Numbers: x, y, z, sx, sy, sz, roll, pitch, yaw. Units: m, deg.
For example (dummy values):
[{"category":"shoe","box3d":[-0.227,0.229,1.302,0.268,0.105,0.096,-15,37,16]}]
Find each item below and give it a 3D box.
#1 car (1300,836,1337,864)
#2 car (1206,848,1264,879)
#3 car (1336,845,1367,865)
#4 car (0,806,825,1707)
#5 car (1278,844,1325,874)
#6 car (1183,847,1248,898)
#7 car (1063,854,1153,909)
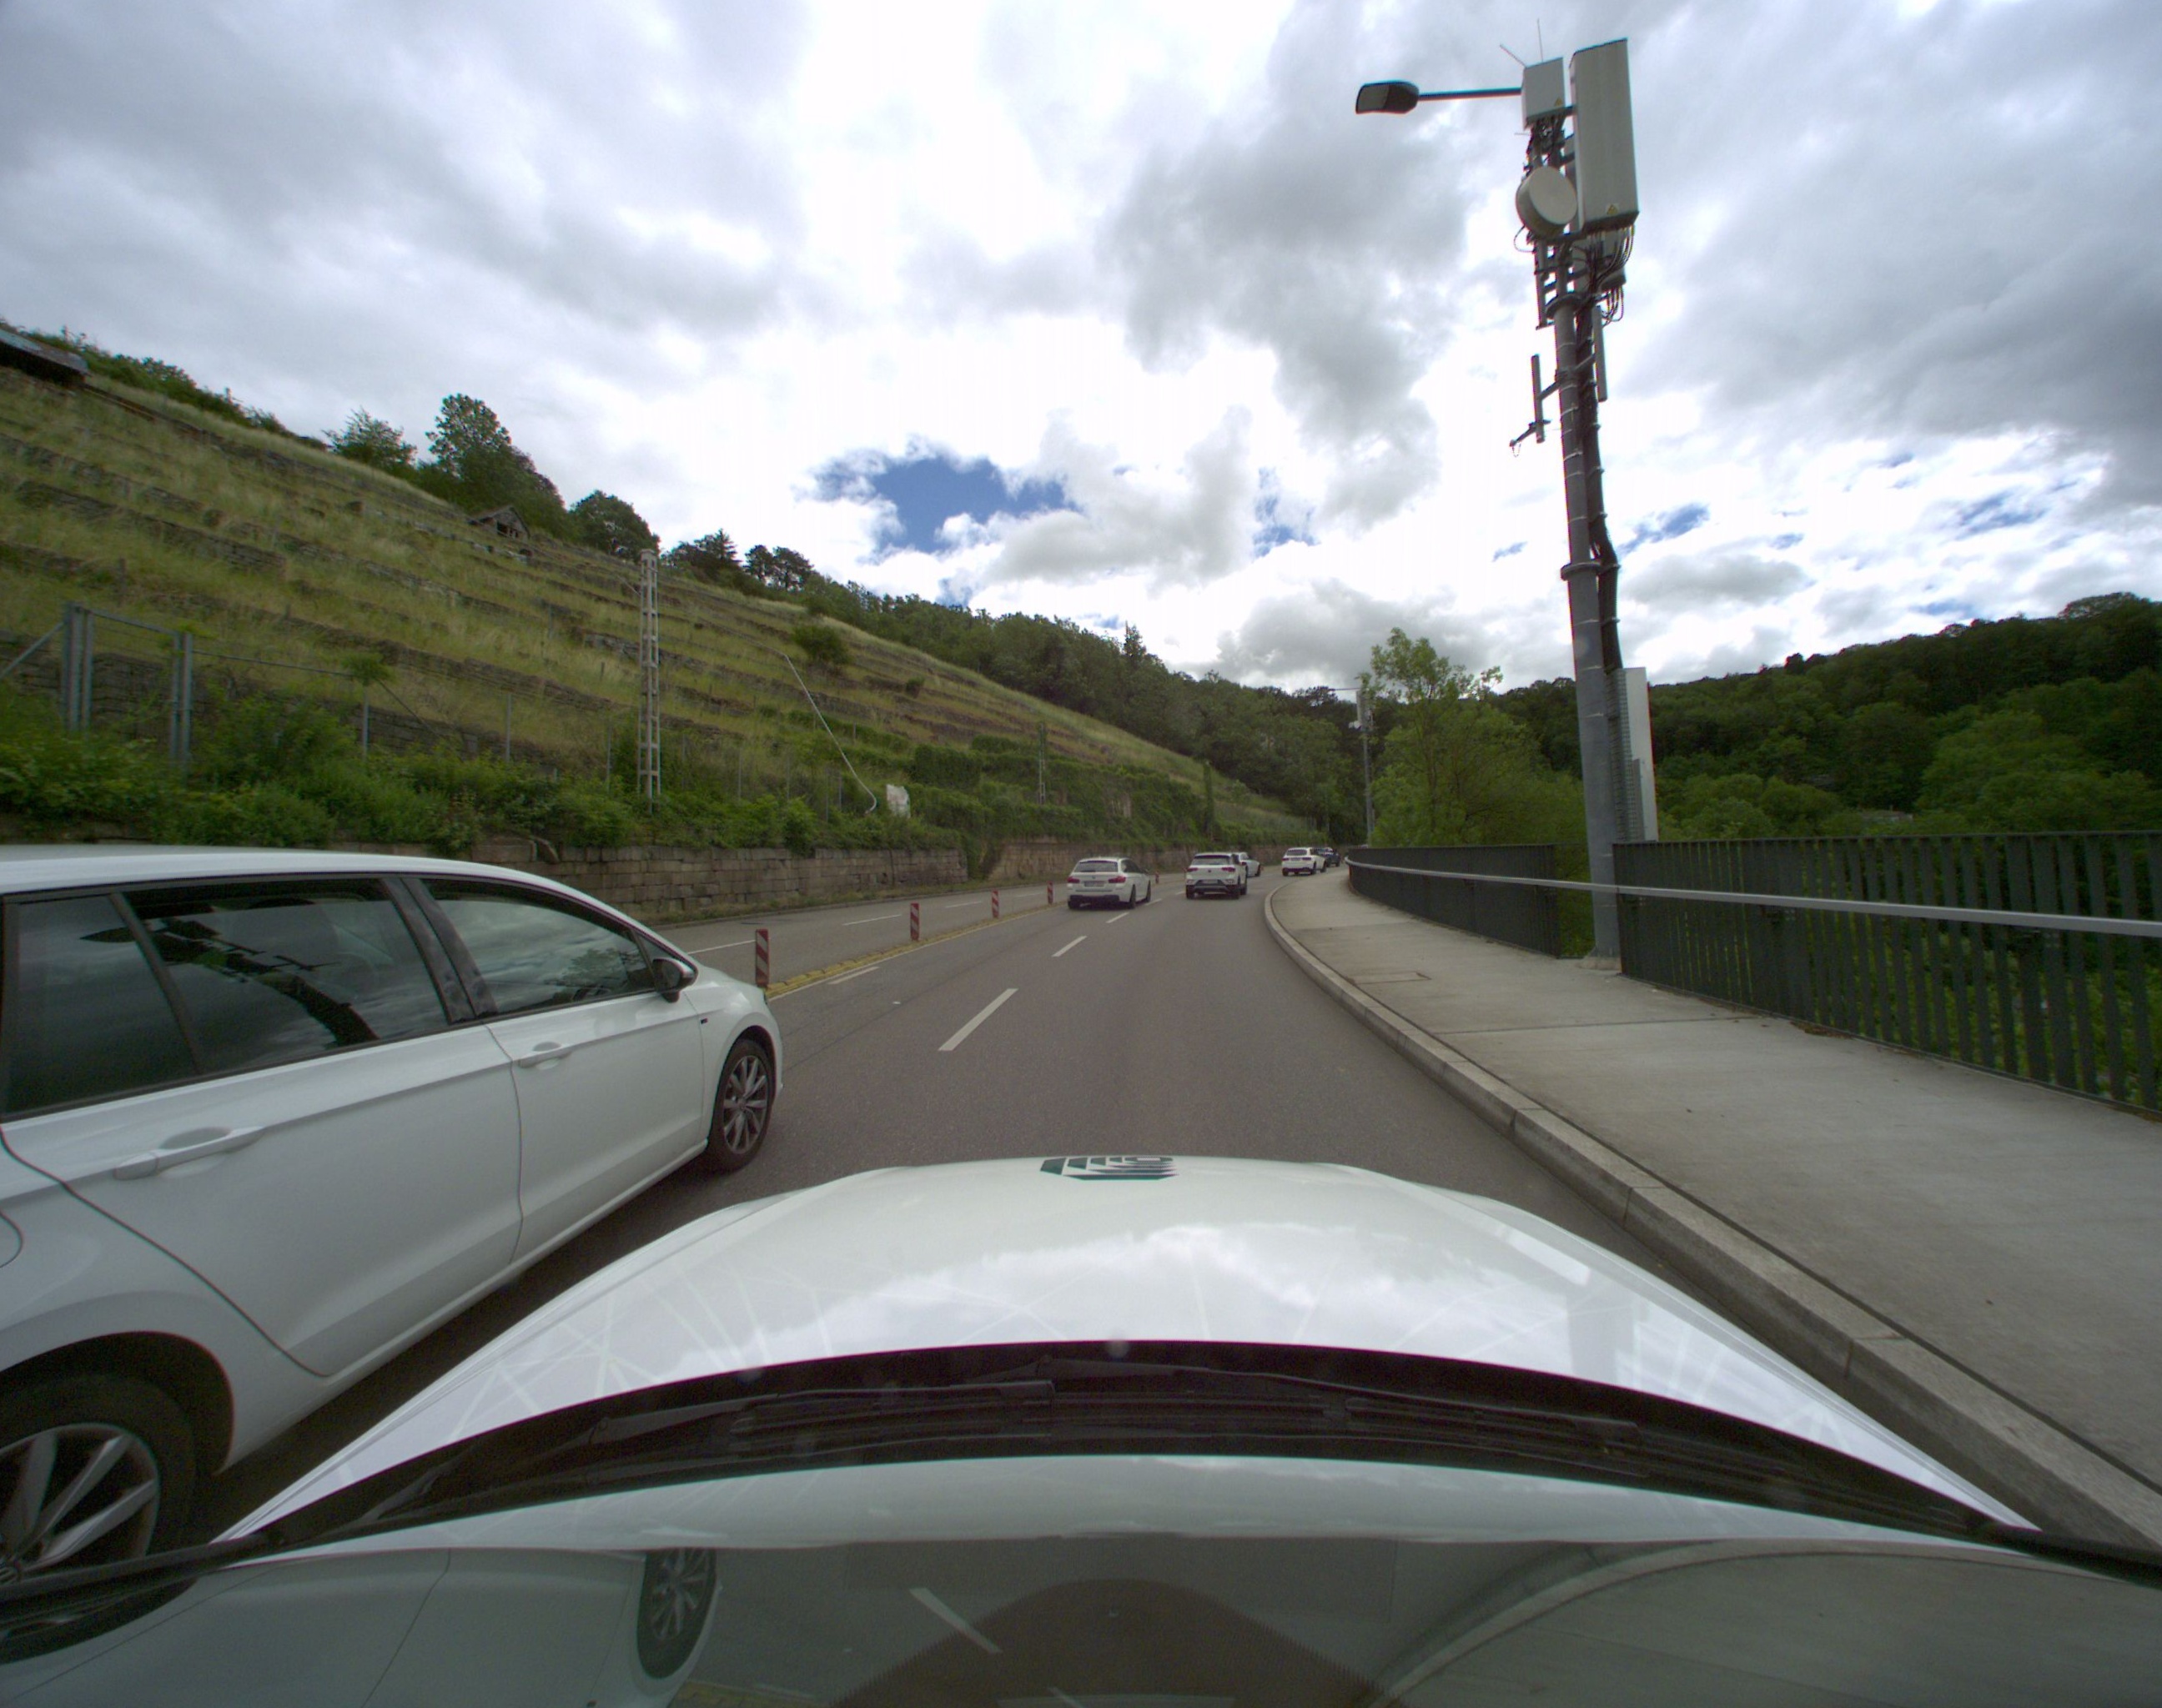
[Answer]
[{"category":"car","box3d":[18.652,-0.319,63.870,1.975,2.014,4.023,-5,-2,25]},{"category":"car","box3d":[8.906,0.539,46.761,1.975,1.503,4.695,-6,-2,26]},{"category":"car","box3d":[24.476,0.095,73.604,1.974,1.717,4.025,-1,0,29]},{"category":"car","box3d":[-2.550,0.725,2.756,1.814,1.580,4.358,-1,0,2]},{"category":"car","box3d":[13.085,0.265,48.163,1.975,1.718,4.138,-1,0,26]},{"category":"car","box3d":[4.747,0.607,28.360,1.814,1.605,4.016,1,0,15]},{"category":"car","box3d":[0.902,0.756,24.084,1.815,1.460,4.502,0,-1,13]}]
